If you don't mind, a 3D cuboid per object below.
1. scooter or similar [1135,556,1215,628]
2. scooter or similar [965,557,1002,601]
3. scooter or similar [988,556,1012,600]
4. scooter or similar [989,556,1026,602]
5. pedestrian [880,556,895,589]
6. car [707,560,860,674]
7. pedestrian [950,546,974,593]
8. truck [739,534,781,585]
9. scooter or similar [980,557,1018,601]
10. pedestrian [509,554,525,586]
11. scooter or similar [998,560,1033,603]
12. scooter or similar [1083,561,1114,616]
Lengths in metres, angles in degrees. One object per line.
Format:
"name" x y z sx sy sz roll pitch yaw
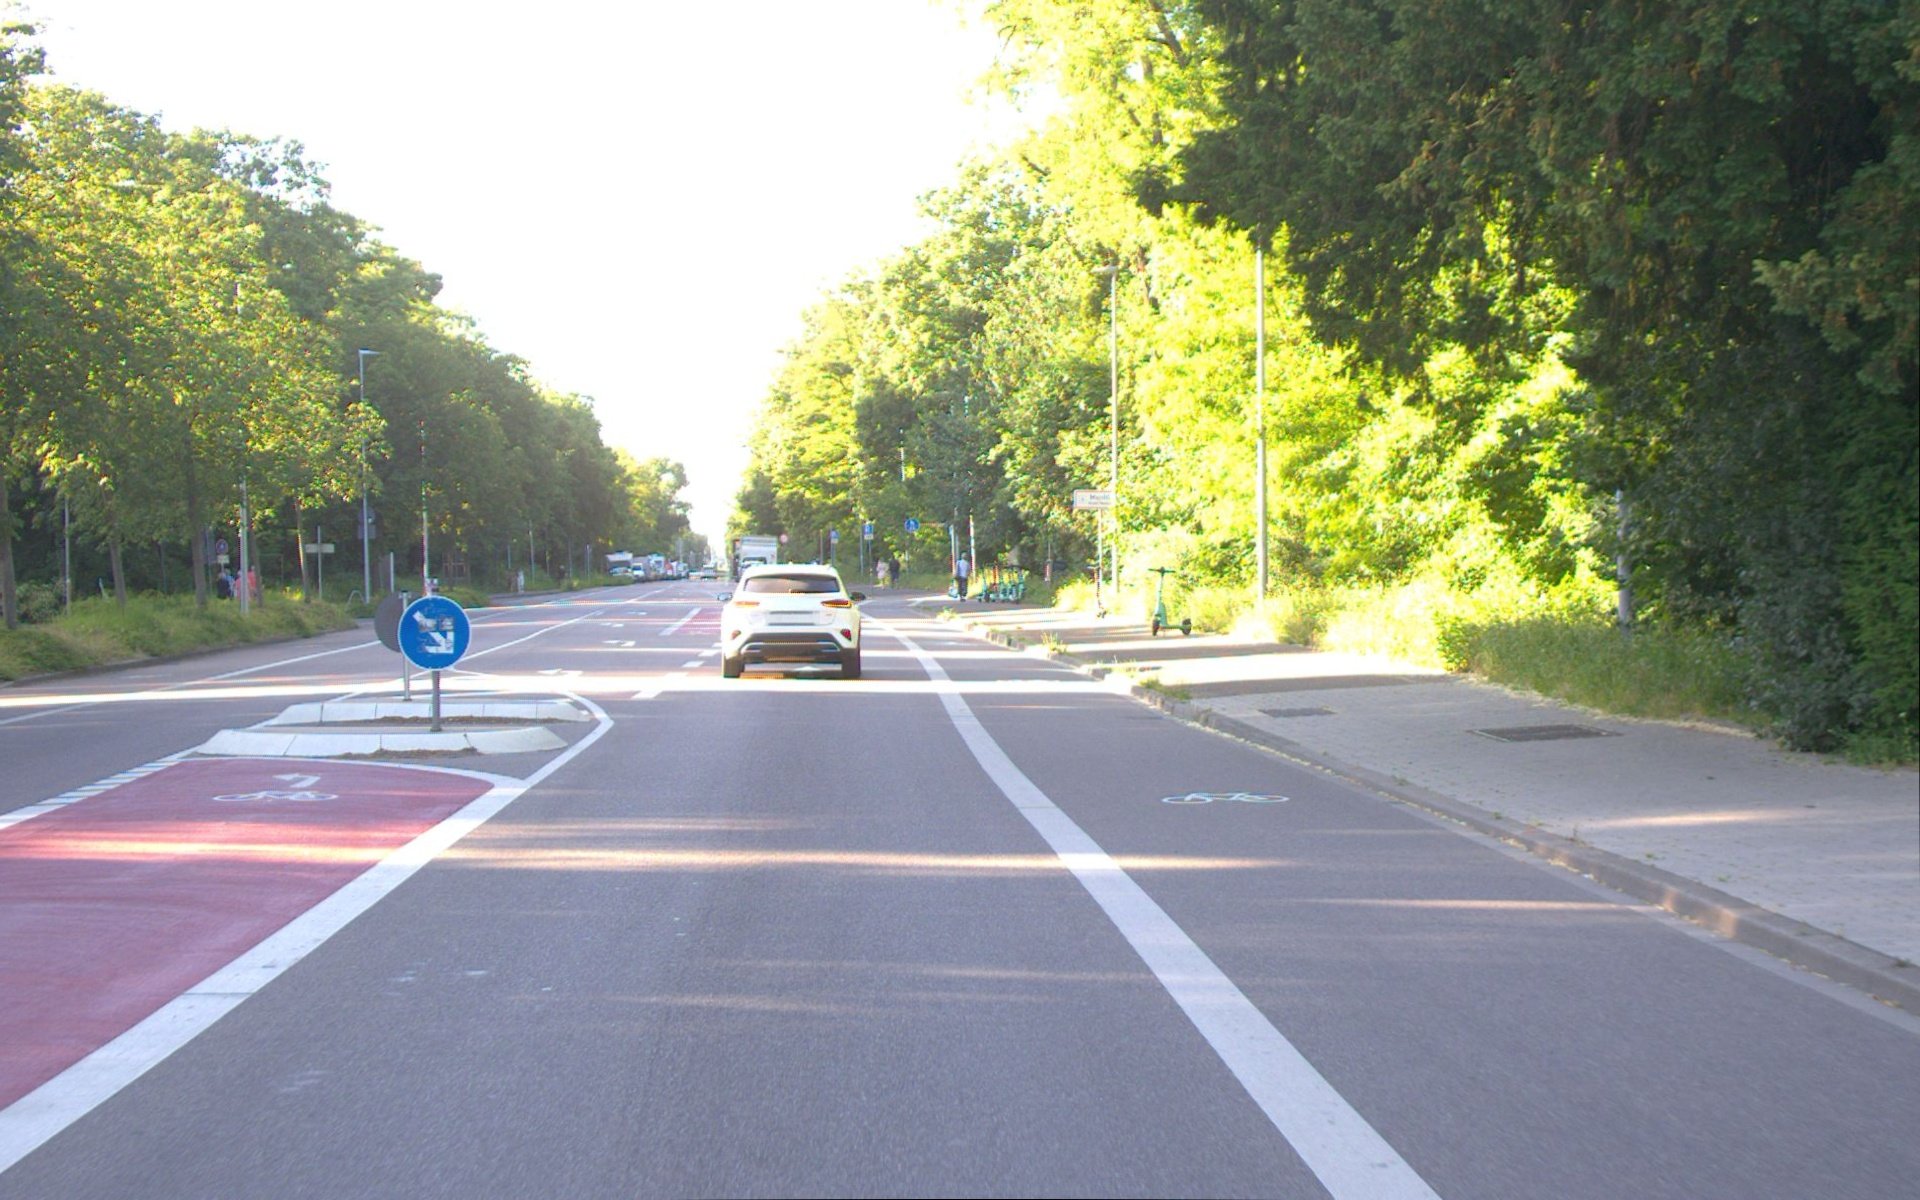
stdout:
"scooter or similar" 3.877 -0.148 61.811 0.534 1.245 1.537 -1 1 44
"scooter or similar" 0.757 -0.697 113.048 0.682 1.418 1.682 -1 1 -19
"scooter or similar" 1.325 -0.733 114.388 0.682 1.418 1.682 -1 1 -3
"scooter or similar" 1.501 -0.667 109.328 0.682 1.418 1.682 -1 1 -17
"pedestrian" -3.657 -1.366 172.990 0.698 1.647 0.876 -1 1 -4
"car" -2.399 0.200 45.975 1.761 1.454 3.819 1 1 -7
"pedestrian" 0.080 -1.050 116.852 0.755 1.558 0.802 -2 1 2
"truck" -14.379 -2.904 246.649 2.799 3.558 8.036 0 1 -5
"scooter or similar" 1.261 -0.687 111.391 0.682 1.418 1.682 -1 1 -19
"pedestrian" -27.862 -1.886 216.401 0.863 2.007 1.269 -2 1 -4
"scooter or similar" 1.735 -0.581 107.240 0.465 1.302 1.481 -1 1 -25
"scooter or similar" 3.203 -0.274 79.654 0.533 1.245 1.541 -1 1 -3
